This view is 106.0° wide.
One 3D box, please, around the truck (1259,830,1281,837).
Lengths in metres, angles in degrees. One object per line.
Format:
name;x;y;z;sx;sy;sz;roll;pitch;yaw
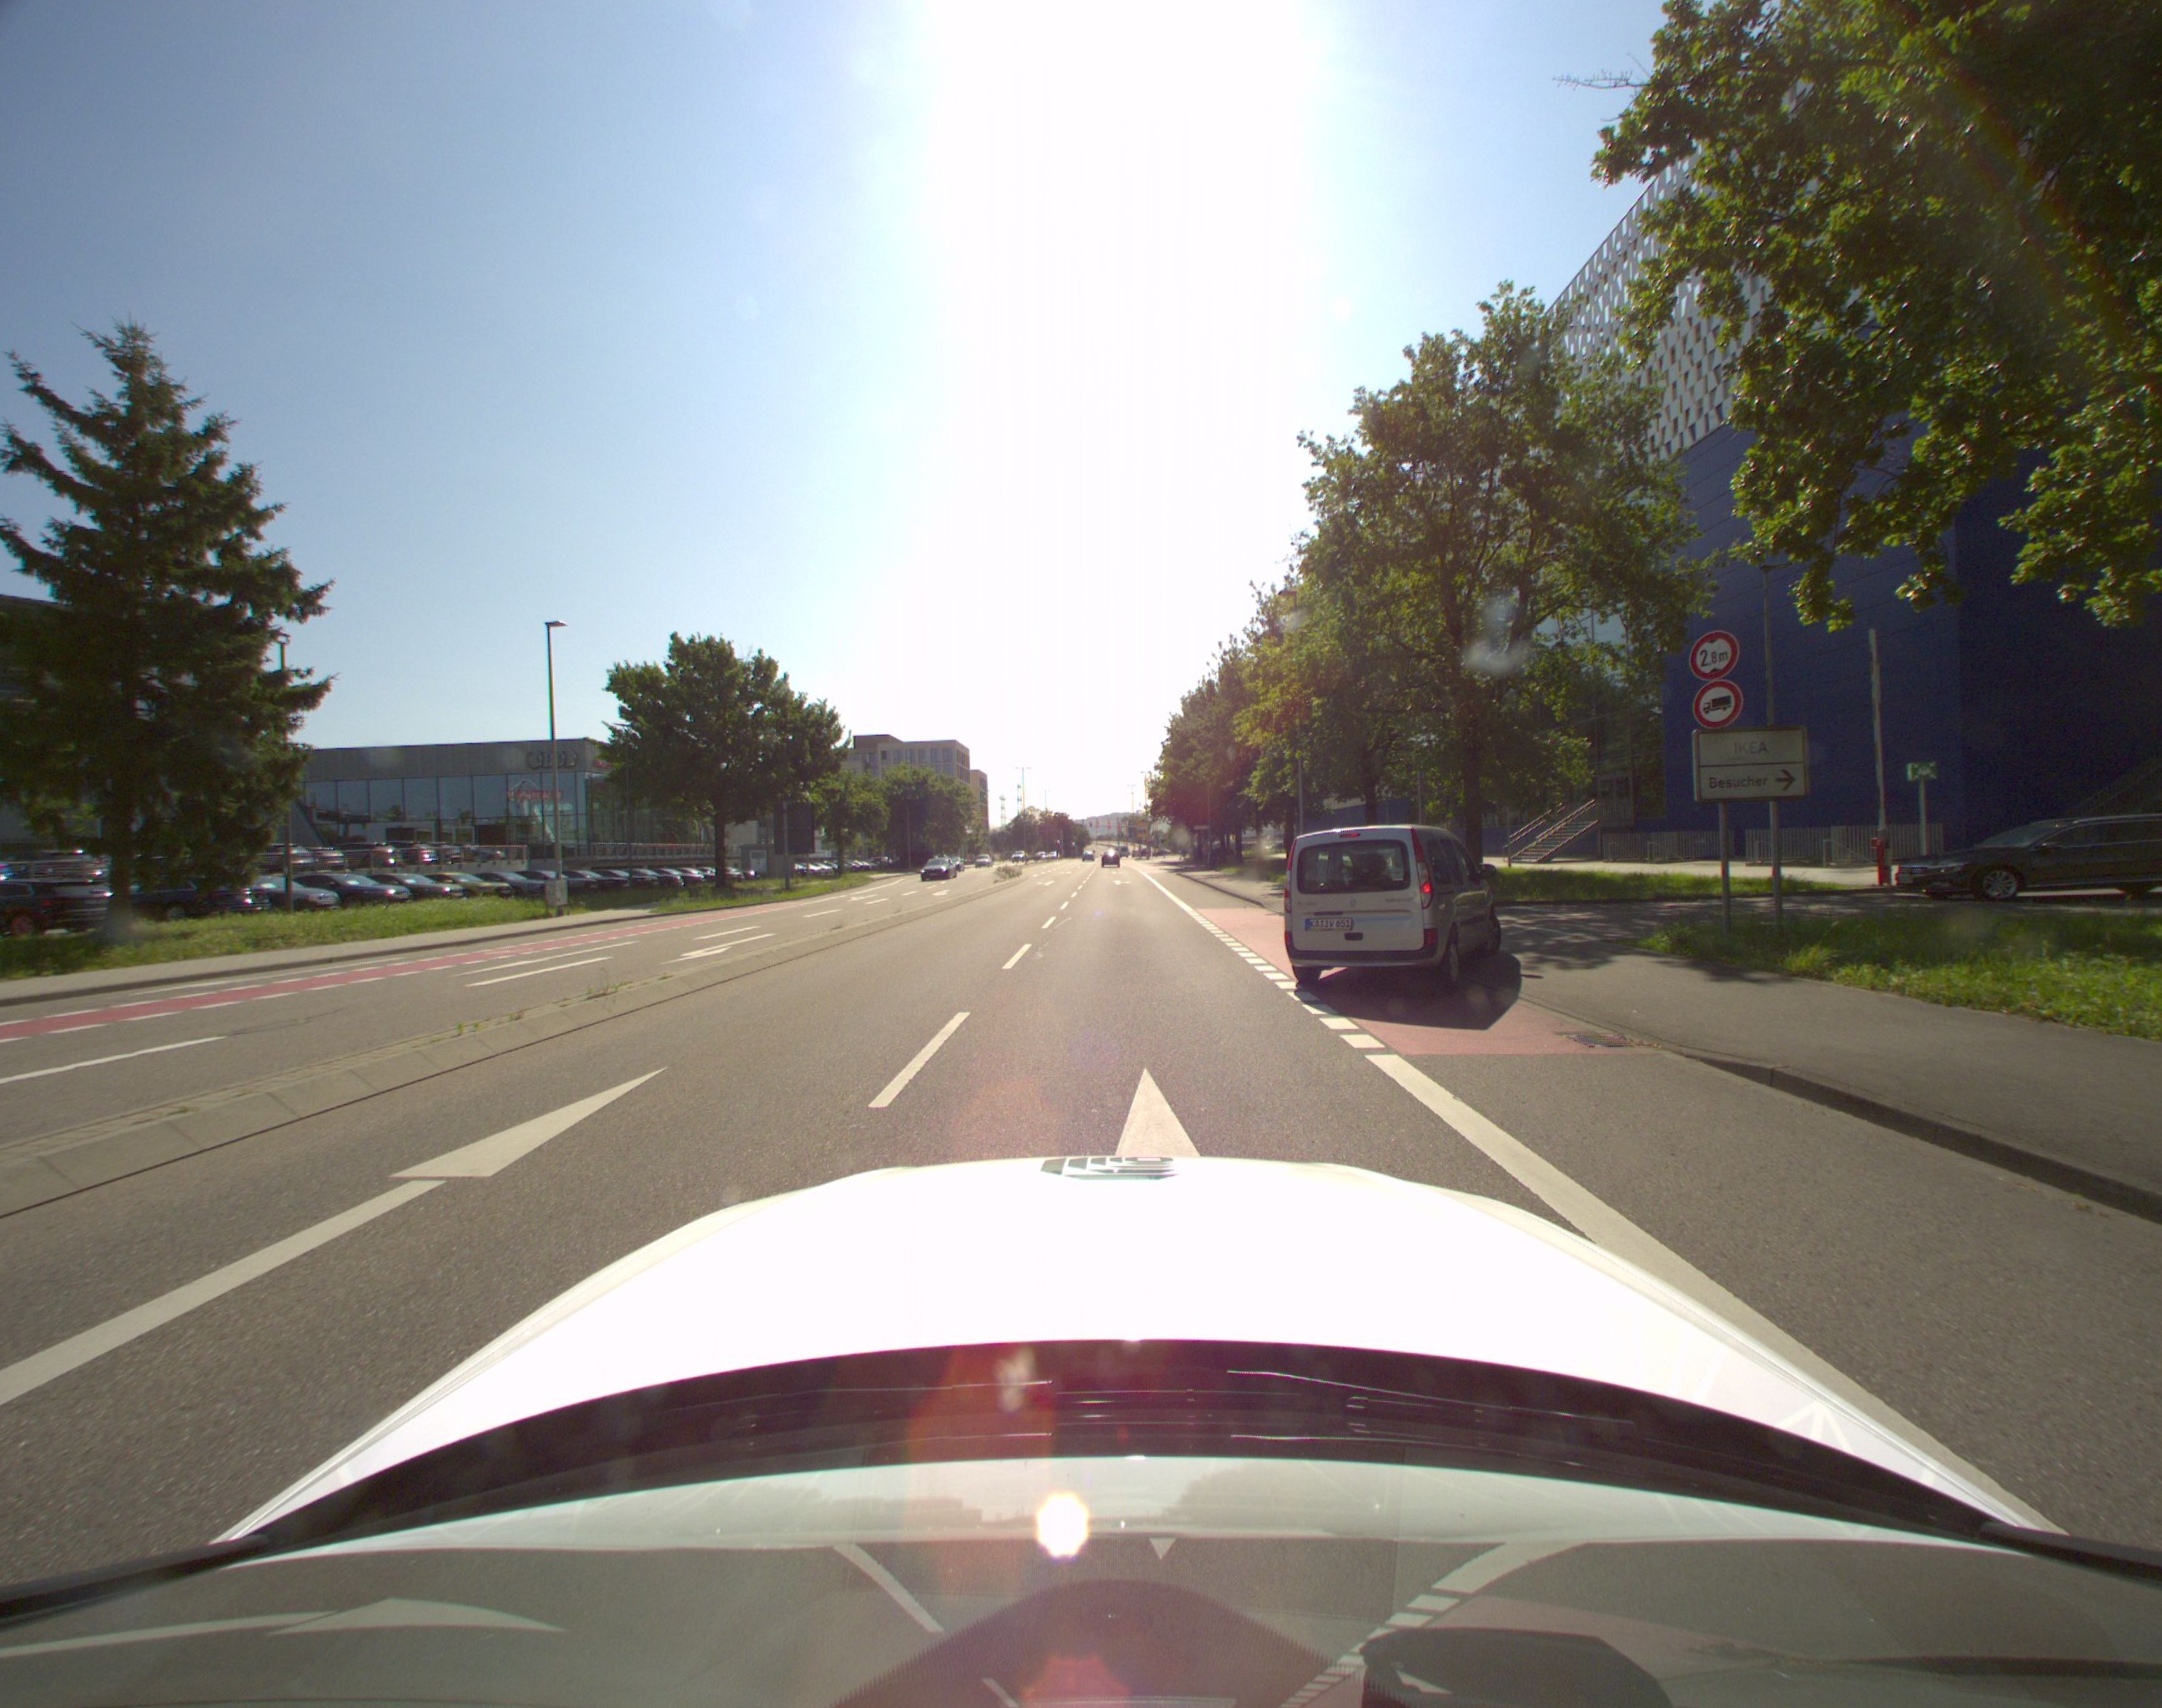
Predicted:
truck;53.077;-5.845;228.877;5.882;2.013;2.003;0;1;4

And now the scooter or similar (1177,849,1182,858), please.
scooter or similar;13.814;-0.032;114.206;0.348;1.233;1.317;-3;0;16

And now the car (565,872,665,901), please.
car;-25.102;1.728;43.938;4.246;1.350;1.956;-2;0;4

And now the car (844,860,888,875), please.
car;-22.762;1.442;86.252;3.971;1.376;1.925;-2;0;2

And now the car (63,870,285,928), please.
car;-25.534;1.253;23.031;4.246;1.381;1.956;-2;0;4

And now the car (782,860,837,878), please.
car;-23.759;1.289;71.415;4.026;1.376;2.027;-2;0;2

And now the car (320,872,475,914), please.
car;-25.683;1.448;30.703;4.246;1.350;1.956;-2;0;4

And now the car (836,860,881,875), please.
car;-22.903;1.396;83.934;3.971;1.376;1.925;-2;0;2

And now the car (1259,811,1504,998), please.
car;3.956;0.477;10.220;1.887;1.829;4.207;-2;0;34

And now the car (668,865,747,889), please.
car;-24.620;1.513;53.699;4.246;1.350;1.956;-2;0;4

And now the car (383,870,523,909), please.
car;-25.683;1.426;33.403;4.246;1.350;1.956;-2;0;4

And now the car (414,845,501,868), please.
car;-41.078;0.147;53.738;4.248;1.350;1.956;-2;0;3

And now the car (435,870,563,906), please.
car;-25.611;1.499;35.930;4.246;1.350;1.956;-2;0;4

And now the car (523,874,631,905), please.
car;-25.348;1.780;41.058;4.246;1.350;1.956;-2;0;4

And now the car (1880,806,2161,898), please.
car;18.157;-0.041;15.112;4.320;1.520;1.923;-2;0;24

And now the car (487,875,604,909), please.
car;-25.243;1.789;38.488;4.246;1.350;1.956;-2;0;4

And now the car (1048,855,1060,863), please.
car;-5.467;1.037;167.066;1.806;1.464;4.008;-3;0;7

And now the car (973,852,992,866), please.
car;-11.381;0.549;94.036;1.648;1.464;3.550;-4;0;0

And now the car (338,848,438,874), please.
car;-40.966;0.383;48.186;4.248;1.350;1.956;-2;0;3

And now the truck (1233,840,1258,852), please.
truck;33.983;-1.620;168.510;4.853;2.423;2.005;0;1;8

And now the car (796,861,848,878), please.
car;-23.513;1.413;74.009;3.971;1.376;1.925;-2;0;2

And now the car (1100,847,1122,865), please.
car;3.038;0.157;81.572;1.798;1.640;4.466;-2;0;6

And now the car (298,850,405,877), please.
car;-40.854;0.517;45.667;4.248;1.350;1.956;-2;0;3

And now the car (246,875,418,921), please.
car;-25.883;1.508;28.233;4.246;1.350;1.956;-2;0;4

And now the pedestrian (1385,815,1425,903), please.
pedestrian;6.945;0.109;17.473;0.533;1.841;0.728;-2;0;3

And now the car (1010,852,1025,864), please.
car;-10.389;0.595;133.896;1.987;1.832;4.937;-2;0;0

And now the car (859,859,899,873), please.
car;-22.597;1.331;91.217;3.971;1.376;1.925;-2;0;2

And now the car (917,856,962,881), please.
car;-9.471;0.928;54.847;1.834;1.463;5.003;-4;0;3

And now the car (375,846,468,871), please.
car;-41.188;0.270;50.915;4.248;1.350;1.956;-2;0;3

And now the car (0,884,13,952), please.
car;-25.970;1.491;17.278;4.246;1.504;1.956;-2;0;4

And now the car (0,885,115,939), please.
car;-35.929;1.970;27.573;4.246;1.642;1.956;-2;0;4

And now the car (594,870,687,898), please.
car;-25.106;1.695;46.525;4.246;1.350;1.956;-2;0;4

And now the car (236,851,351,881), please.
car;-41.696;0.621;43.181;4.248;1.350;1.956;-2;0;3

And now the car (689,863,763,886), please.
car;-24.559;1.412;56.428;4.246;1.350;1.956;-2;0;4

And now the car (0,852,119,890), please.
car;-41.417;0.686;32.314;4.248;1.350;1.956;-2;0;3

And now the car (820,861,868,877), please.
car;-23.089;1.471;79.324;3.971;1.376;1.925;-2;0;2

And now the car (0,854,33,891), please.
car;-41.704;0.770;29.824;4.248;1.350;1.956;-2;0;3

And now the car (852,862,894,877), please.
car;-22.649;1.689;88.688;3.971;1.376;1.925;-2;0;2

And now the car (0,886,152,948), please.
car;-26.172;1.576;20.166;4.246;1.328;1.956;-2;0;4

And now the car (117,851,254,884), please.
car;-41.412;0.602;37.726;4.248;1.350;1.956;-2;0;3

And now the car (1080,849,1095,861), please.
car;1.060;0.120;125.031;1.985;1.684;4.003;-2;0;3

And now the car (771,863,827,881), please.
car;-23.833;1.525;68.822;3.971;1.376;1.867;-2;0;2

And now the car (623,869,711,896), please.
car;-24.906;1.702;49.048;4.246;1.350;1.956;-2;0;4

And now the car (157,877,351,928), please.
car;-25.947;1.510;25.659;4.246;1.350;1.956;-2;0;4

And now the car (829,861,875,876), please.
car;-22.954;1.453;81.722;3.971;1.376;1.925;-2;0;2

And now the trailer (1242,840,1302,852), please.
trailer;39.270;-1.621;167.783;11.802;2.469;2.005;0;1;8

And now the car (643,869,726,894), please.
car;-24.984;1.698;51.448;4.246;1.350;1.956;-2;0;4
